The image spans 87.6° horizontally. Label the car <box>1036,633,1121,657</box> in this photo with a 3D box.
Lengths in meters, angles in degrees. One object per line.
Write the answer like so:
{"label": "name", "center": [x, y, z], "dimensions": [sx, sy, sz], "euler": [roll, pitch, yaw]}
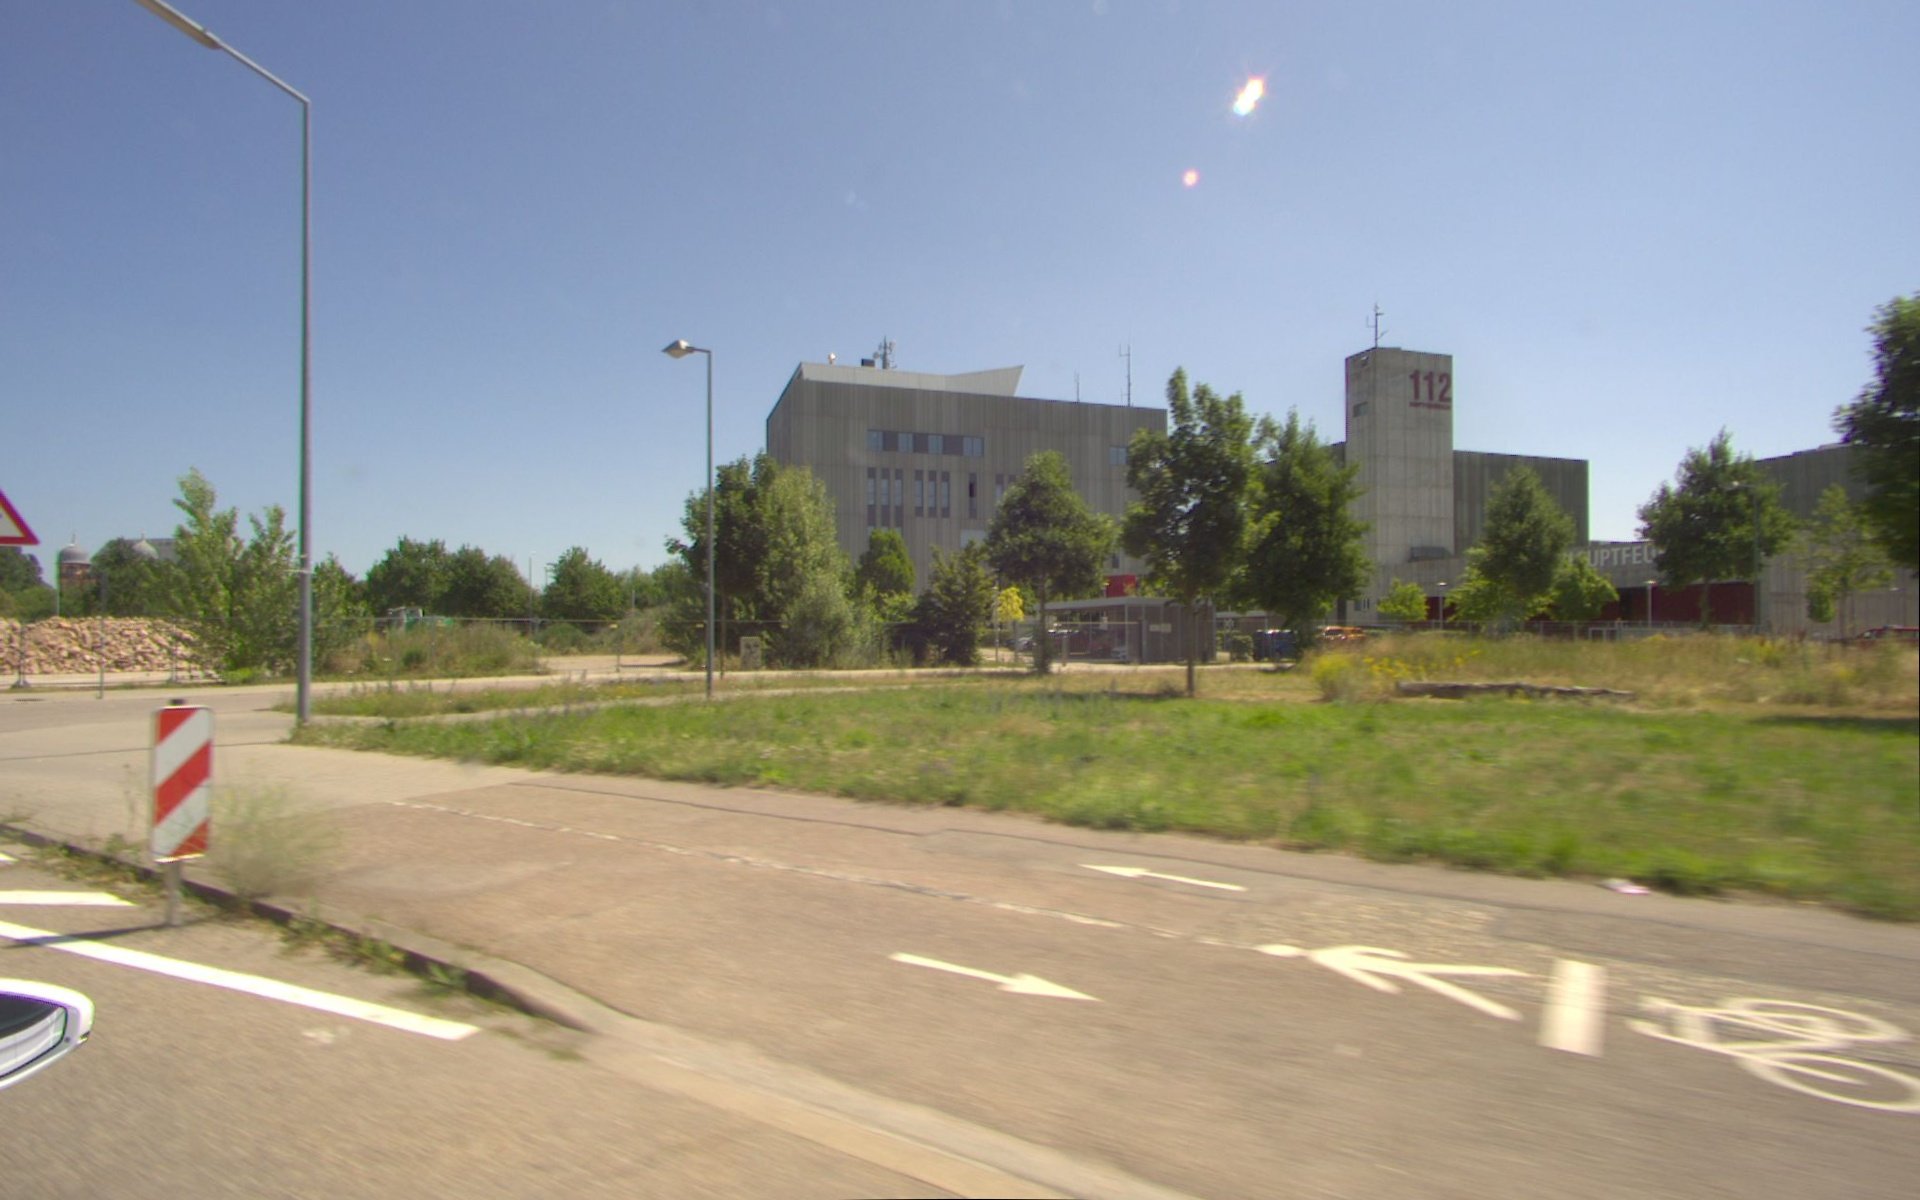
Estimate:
{"label": "car", "center": [7.443, 2.785, 62.944], "dimensions": [4.993, 1.455, 1.996], "euler": [0, -1, -20]}

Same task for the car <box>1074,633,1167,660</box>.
{"label": "car", "center": [9.065, 2.621, 56.759], "dimensions": [4.828, 1.455, 1.998], "euler": [0, -1, -15]}

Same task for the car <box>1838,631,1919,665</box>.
{"label": "car", "center": [60.151, 3.077, 64.371], "dimensions": [2.198, 2.142, 5.153], "euler": [1, -2, -17]}

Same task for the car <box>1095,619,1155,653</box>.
{"label": "car", "center": [11.544, 2.510, 70.049], "dimensions": [3.788, 2.324, 1.739], "euler": [0, -1, -18]}

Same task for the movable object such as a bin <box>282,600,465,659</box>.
{"label": "movable object such as a bin", "center": [-35.574, 1.804, 60.718], "dimensions": [10.307, 3.301, 4.937], "euler": [-1, -2, 28]}

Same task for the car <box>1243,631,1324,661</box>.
{"label": "car", "center": [17.191, 2.411, 53.160], "dimensions": [3.932, 1.510, 1.651], "euler": [0, -1, -20]}
